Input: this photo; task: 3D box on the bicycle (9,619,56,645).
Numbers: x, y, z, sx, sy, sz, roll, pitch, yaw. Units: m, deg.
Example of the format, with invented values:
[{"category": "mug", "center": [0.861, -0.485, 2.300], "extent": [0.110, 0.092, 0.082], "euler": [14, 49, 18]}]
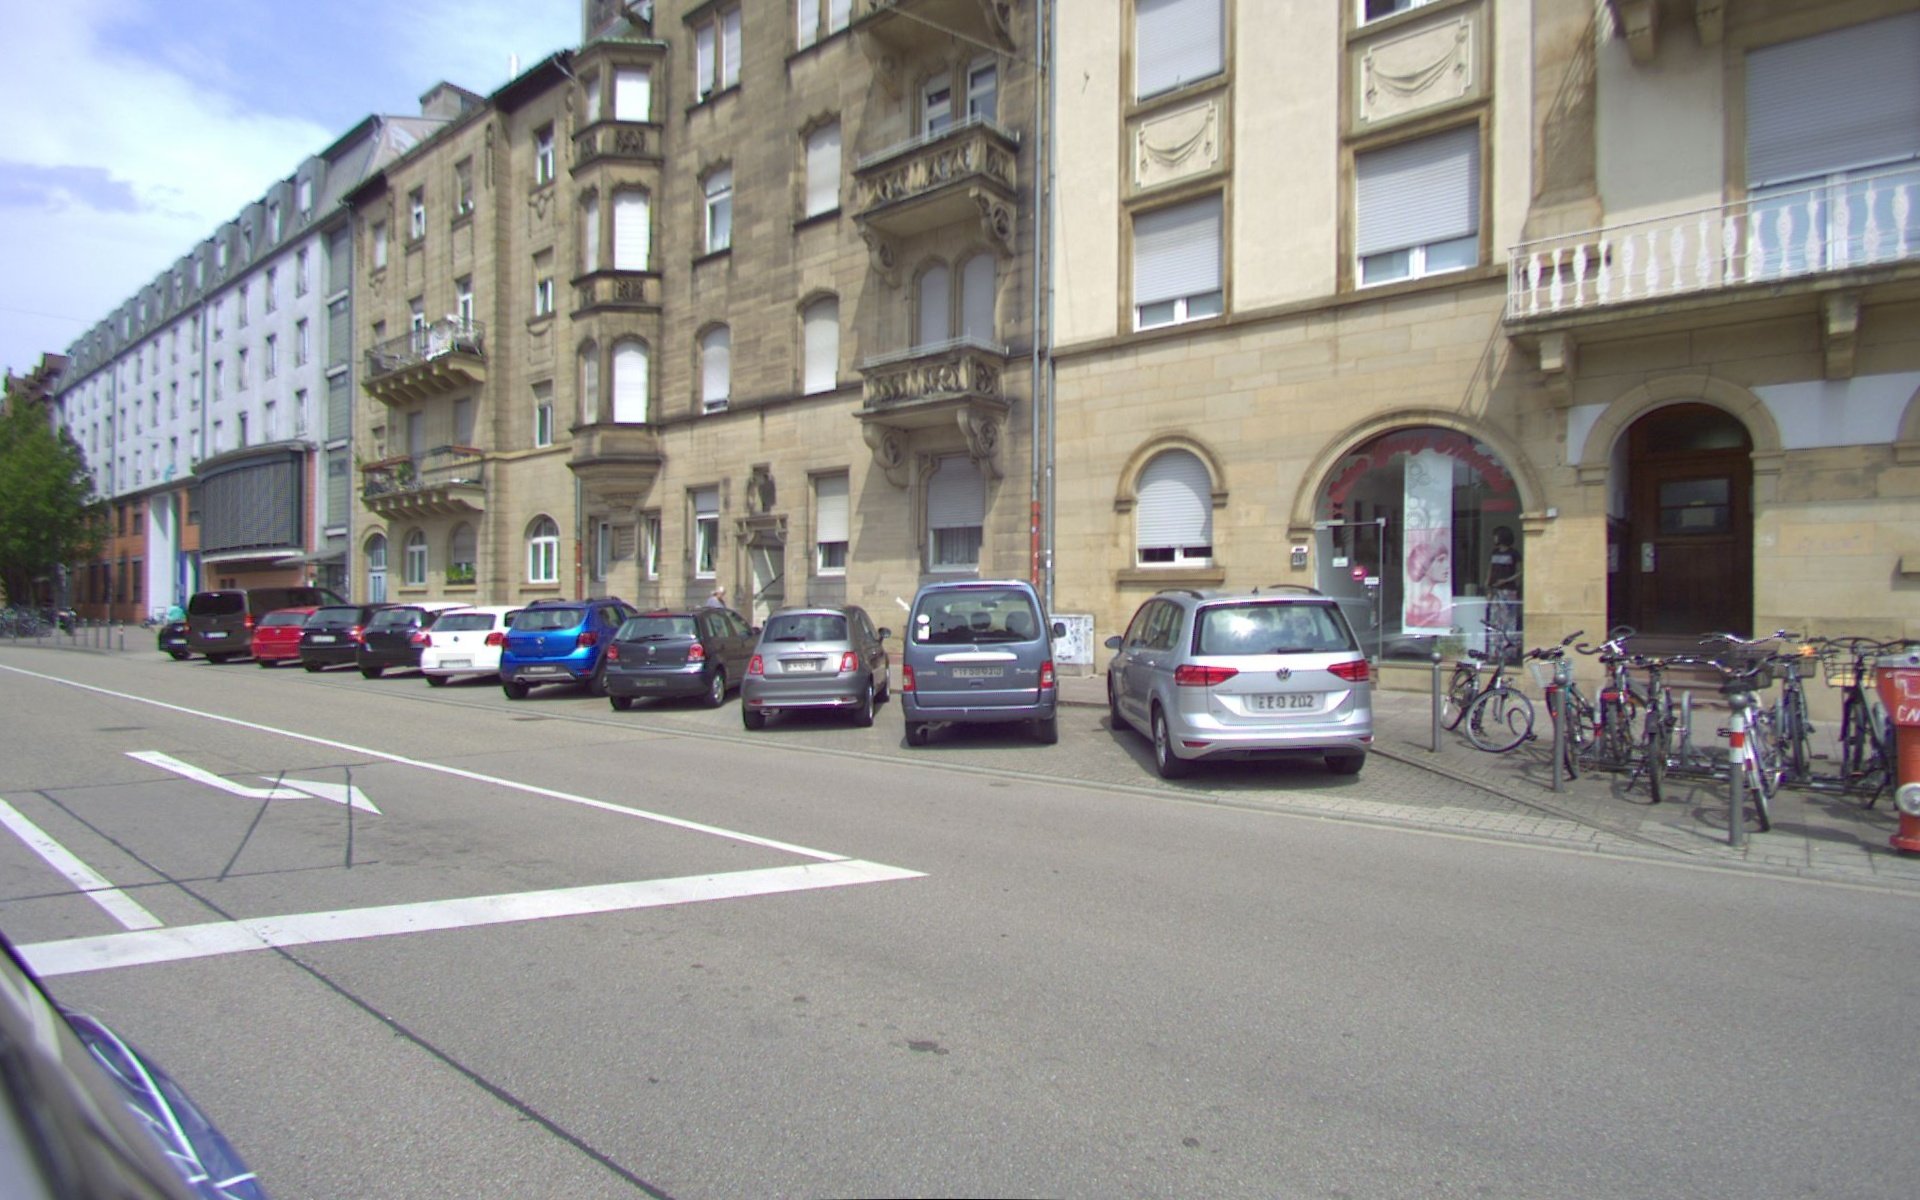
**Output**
[{"category": "bicycle", "center": [-37.853, 1.305, 41.308], "extent": [0.401, 1.034, 1.391], "euler": [-1, -1, 41]}]

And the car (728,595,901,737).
[{"category": "car", "center": [-1.826, 0.804, 13.909], "extent": [1.772, 1.664, 4.011], "euler": [0, -1, 1]}]

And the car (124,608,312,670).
[{"category": "car", "center": [-20.928, 1.034, 28.826], "extent": [1.874, 1.420, 4.671], "euler": [-2, 2, 1]}]

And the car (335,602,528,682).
[{"category": "car", "center": [-11.351, 0.858, 22.072], "extent": [1.775, 1.576, 4.003], "euler": [0, -1, 7]}]

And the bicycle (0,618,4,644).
[{"category": "bicycle", "center": [-39.289, 1.288, 40.517], "extent": [0.401, 1.046, 1.391], "euler": [-1, 1, 41]}]

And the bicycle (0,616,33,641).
[{"category": "bicycle", "center": [-40.727, 1.211, 43.426], "extent": [0.401, 1.034, 1.391], "euler": [-1, -1, 41]}]

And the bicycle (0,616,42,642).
[{"category": "bicycle", "center": [-39.337, 1.204, 42.302], "extent": [0.401, 1.034, 1.391], "euler": [-1, -1, 41]}]

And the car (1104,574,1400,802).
[{"category": "car", "center": [2.582, 0.719, 9.986], "extent": [1.772, 1.787, 4.011], "euler": [0, -1, 1]}]

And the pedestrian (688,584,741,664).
[{"category": "pedestrian", "center": [-5.087, 0.483, 20.989], "extent": [0.678, 1.606, 0.784], "euler": [0, 1, 39]}]

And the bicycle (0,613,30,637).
[{"category": "bicycle", "center": [-41.681, 1.113, 44.288], "extent": [0.401, 1.034, 1.391], "euler": [-1, -1, 41]}]

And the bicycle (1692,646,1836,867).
[{"category": "bicycle", "center": [5.378, 0.949, 6.730], "extent": [0.594, 1.128, 1.790], "euler": [-1, 2, 43]}]

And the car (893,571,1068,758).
[{"category": "car", "center": [0.223, 0.683, 12.282], "extent": [1.772, 1.893, 4.011], "euler": [0, -1, 1]}]

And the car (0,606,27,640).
[{"category": "car", "center": [-44.972, 1.045, 45.835], "extent": [1.582, 1.557, 3.999], "euler": [0, -1, 5]}]

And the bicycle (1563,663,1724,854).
[{"category": "bicycle", "center": [4.893, 1.044, 7.196], "extent": [1.788, 1.129, 0.594], "euler": [1, -2, -44]}]

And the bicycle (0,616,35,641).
[{"category": "bicycle", "center": [-40.353, 1.204, 43.117], "extent": [0.401, 1.034, 1.391], "euler": [-1, -1, 41]}]

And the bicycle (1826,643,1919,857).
[{"category": "bicycle", "center": [6.340, 0.933, 6.743], "extent": [0.592, 1.175, 1.796], "euler": [0, 1, 32]}]

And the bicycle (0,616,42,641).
[{"category": "bicycle", "center": [-39.670, 1.195, 42.663], "extent": [0.401, 1.034, 1.391], "euler": [-1, -1, 41]}]

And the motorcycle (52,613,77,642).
[{"category": "motorcycle", "center": [-37.618, 1.149, 42.514], "extent": [1.778, 1.181, 0.577], "euler": [-1, 0, 41]}]

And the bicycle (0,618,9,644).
[{"category": "bicycle", "center": [-38.563, 1.254, 39.997], "extent": [0.401, 1.046, 1.391], "euler": [-1, 1, 41]}]

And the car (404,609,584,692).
[{"category": "car", "center": [-9.081, 0.932, 20.079], "extent": [1.719, 1.493, 3.682], "euler": [0, -1, 3]}]

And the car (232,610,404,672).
[{"category": "car", "center": [-15.963, 0.980, 25.417], "extent": [1.772, 1.420, 4.011], "euler": [0, -1, 0]}]

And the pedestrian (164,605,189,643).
[{"category": "pedestrian", "center": [-31.143, 0.948, 40.235], "extent": [0.508, 1.497, 0.654], "euler": [-1, -1, 34]}]

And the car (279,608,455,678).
[{"category": "car", "center": [-13.790, 0.957, 23.824], "extent": [1.611, 1.514, 3.991], "euler": [0, -1, 4]}]

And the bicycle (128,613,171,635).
[{"category": "bicycle", "center": [-40.504, 1.198, 50.604], "extent": [1.591, 0.933, 0.933], "euler": [-6, 3, -39]}]

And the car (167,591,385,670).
[{"category": "car", "center": [-18.358, 0.784, 27.569], "extent": [2.095, 1.924, 5.263], "euler": [0, -1, 5]}]

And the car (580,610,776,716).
[{"category": "car", "center": [-4.255, 0.896, 15.953], "extent": [1.813, 1.454, 3.899], "euler": [0, -1, 4]}]

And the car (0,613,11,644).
[{"category": "car", "center": [-47.022, 1.328, 46.974], "extent": [1.696, 1.480, 4.309], "euler": [0, -1, 6]}]

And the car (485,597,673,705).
[{"category": "car", "center": [-6.489, 0.820, 17.671], "extent": [1.702, 1.664, 3.774], "euler": [0, -1, 3]}]
